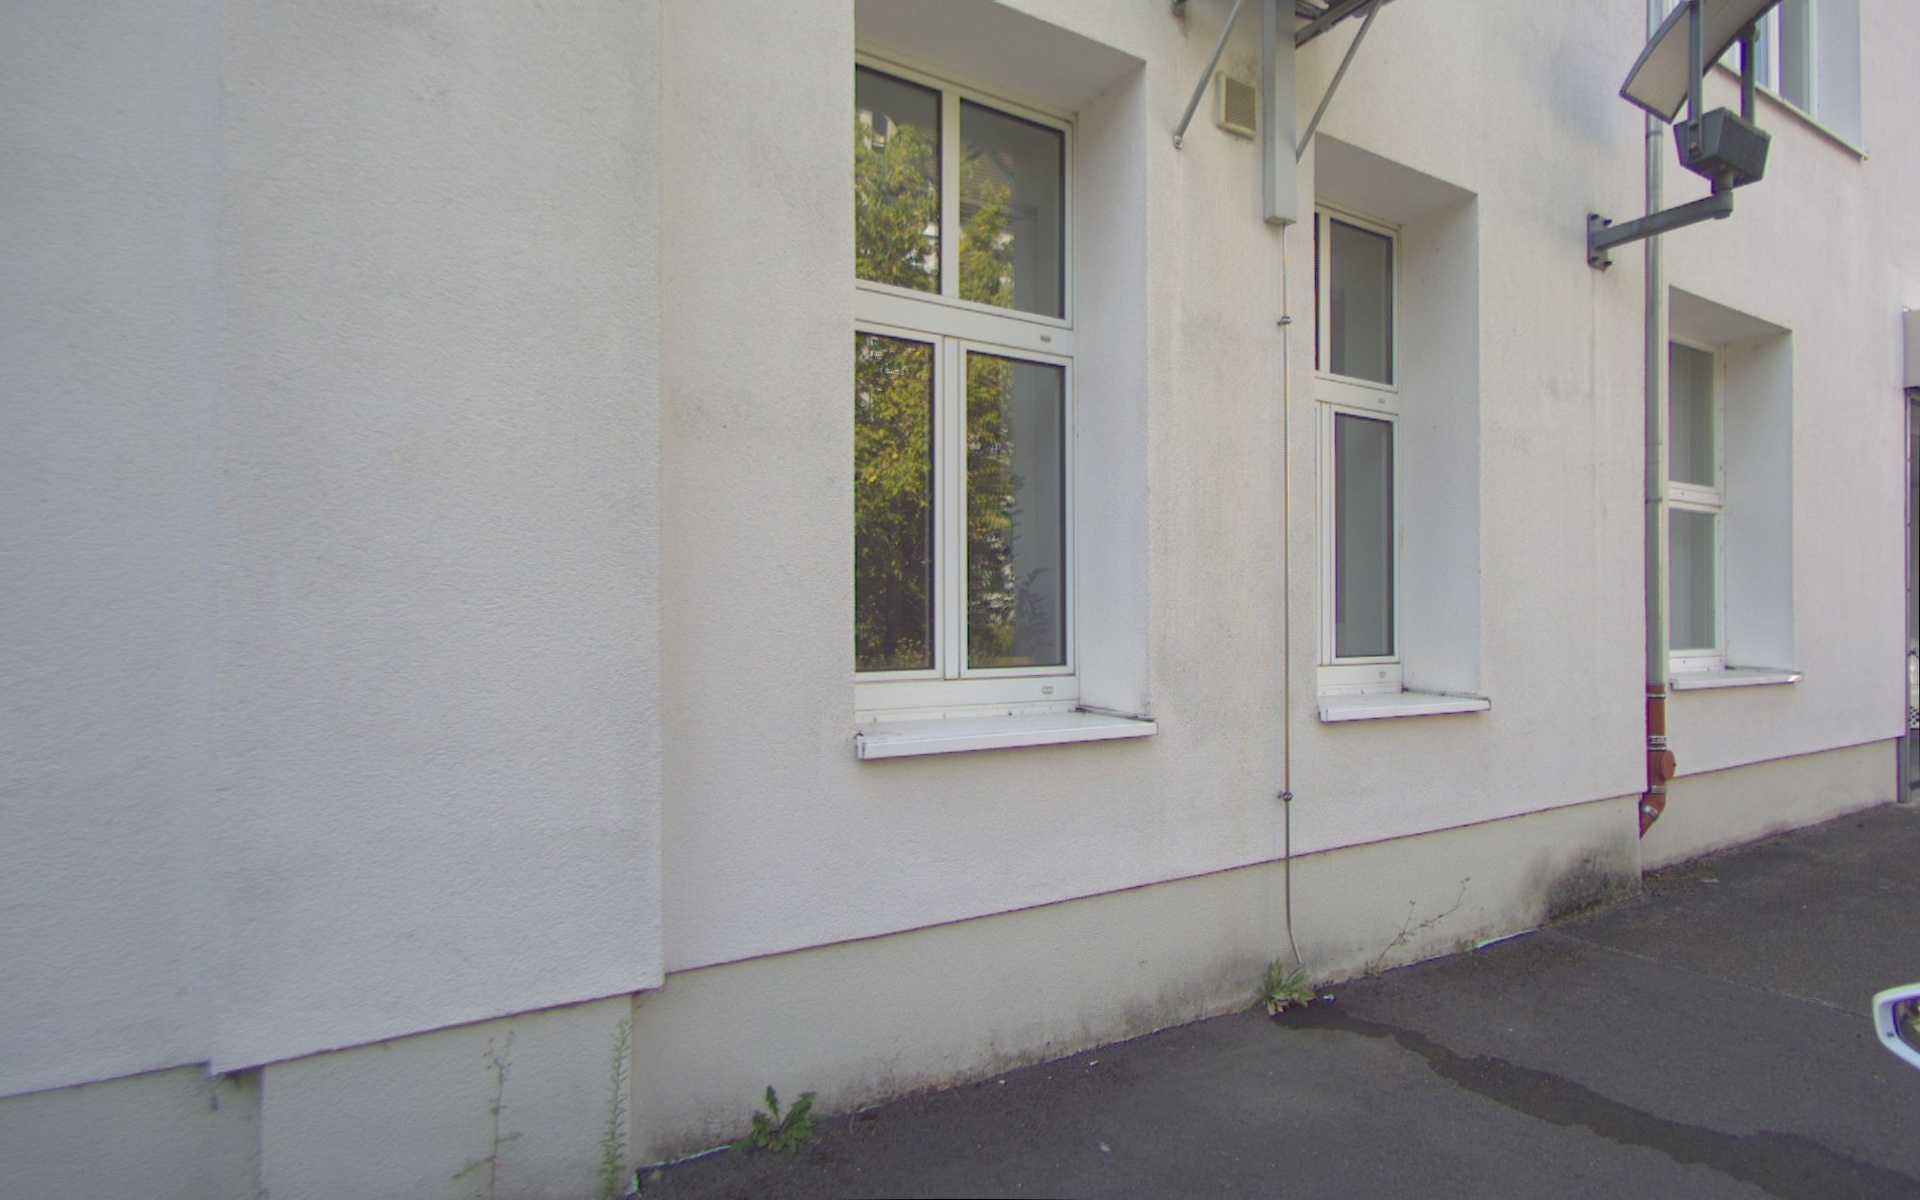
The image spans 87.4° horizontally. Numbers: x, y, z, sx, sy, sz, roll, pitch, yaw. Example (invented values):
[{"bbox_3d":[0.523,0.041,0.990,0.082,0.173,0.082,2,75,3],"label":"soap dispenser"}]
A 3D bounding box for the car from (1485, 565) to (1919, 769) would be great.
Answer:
[{"bbox_3d":[9.645,0.759,12.988,2.032,2.120,4.723,1,-1,-31],"label":"car"}]
